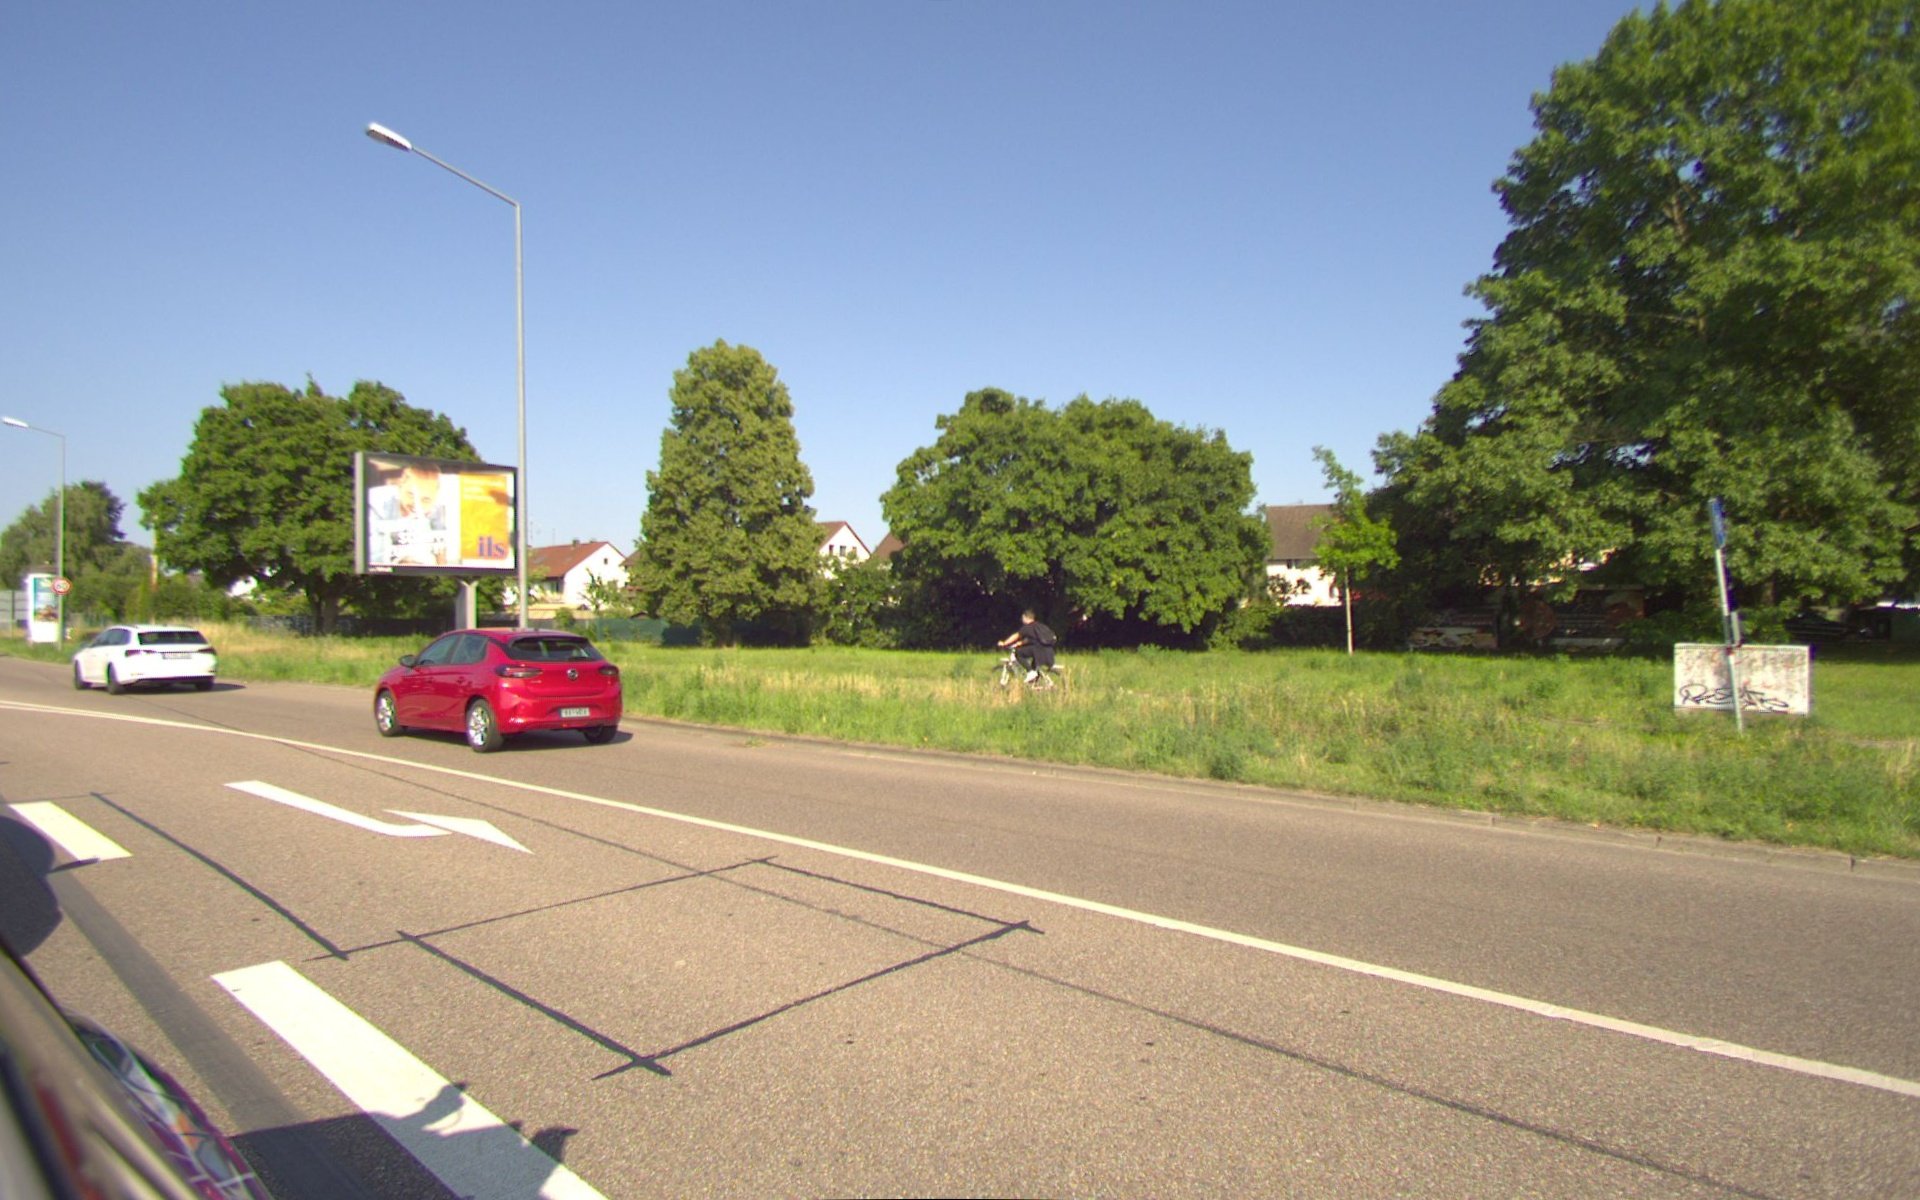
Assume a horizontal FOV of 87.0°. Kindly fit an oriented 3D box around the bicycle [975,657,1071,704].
[{"bbox_3d":[1.101,1.418,18.089,1.834,0.759,0.449,-1,-1,42],"label":"bicycle"}]

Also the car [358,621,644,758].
[{"bbox_3d":[-5.961,1.039,12.979,3.909,1.489,1.762,-1,-3,39],"label":"car"}]

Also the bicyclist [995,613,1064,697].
[{"bbox_3d":[1.234,0.961,18.026,1.071,1.439,0.630,-2,-2,42],"label":"bicyclist"}]

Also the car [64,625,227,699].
[{"bbox_3d":[-17.970,1.298,22.266,4.264,1.489,1.763,-1,-2,36],"label":"car"}]
